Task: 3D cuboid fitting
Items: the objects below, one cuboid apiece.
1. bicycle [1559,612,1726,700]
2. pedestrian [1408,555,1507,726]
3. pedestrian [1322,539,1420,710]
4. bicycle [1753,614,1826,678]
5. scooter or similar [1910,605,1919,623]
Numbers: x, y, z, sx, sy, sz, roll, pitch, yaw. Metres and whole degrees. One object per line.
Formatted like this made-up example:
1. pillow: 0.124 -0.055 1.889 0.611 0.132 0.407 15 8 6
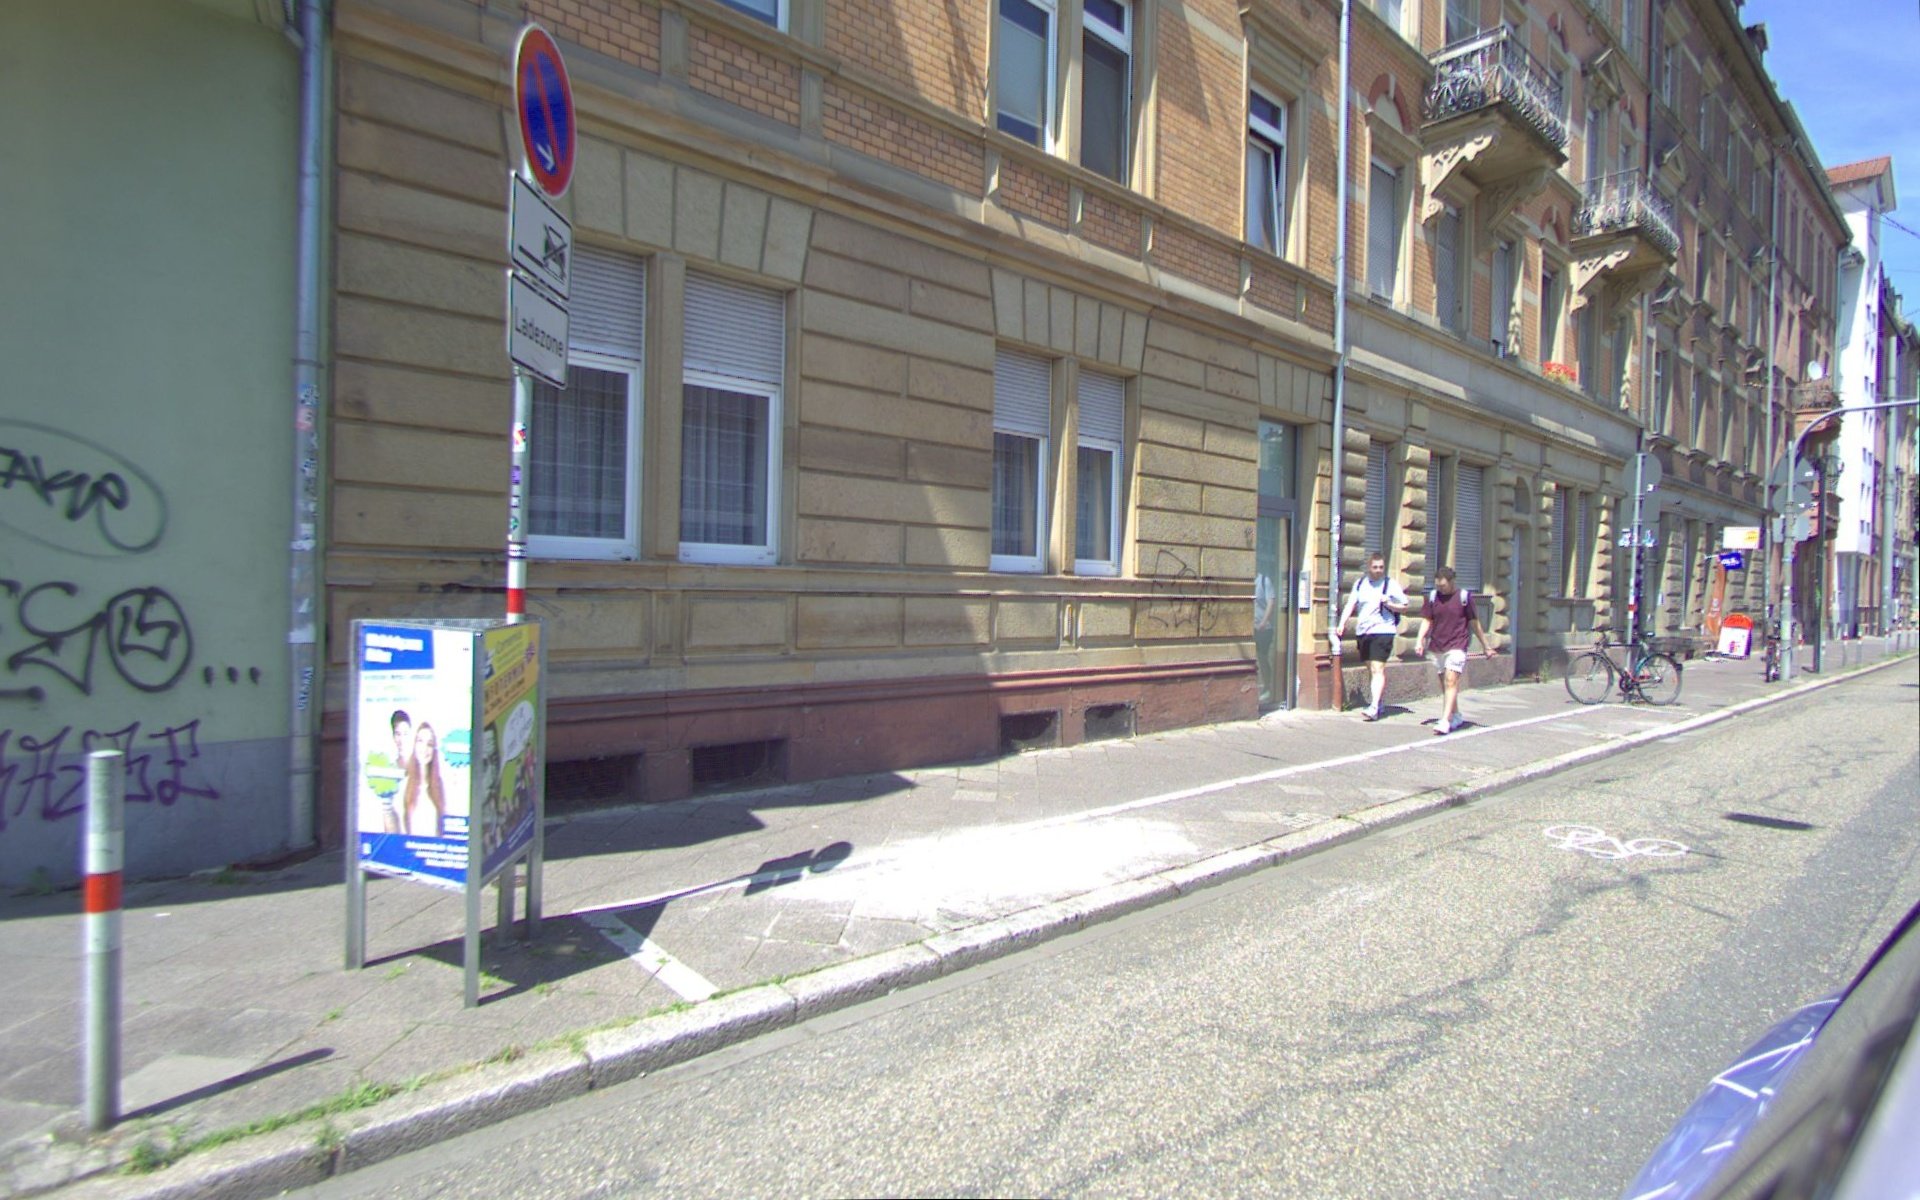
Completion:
1. bicycle: 9.390 0.774 13.915 2.196 1.144 0.501 1 1 -13
2. pedestrian: 5.320 0.405 10.823 0.632 1.741 0.722 1 1 -40
3. pedestrian: 4.742 0.264 11.682 0.632 1.870 0.704 1 4 -40
4. bicycle: 15.390 0.824 18.748 2.377 1.110 0.449 1 1 -36
5. scooter or similar: 62.099 0.928 64.885 1.506 1.170 0.710 2 0 21
